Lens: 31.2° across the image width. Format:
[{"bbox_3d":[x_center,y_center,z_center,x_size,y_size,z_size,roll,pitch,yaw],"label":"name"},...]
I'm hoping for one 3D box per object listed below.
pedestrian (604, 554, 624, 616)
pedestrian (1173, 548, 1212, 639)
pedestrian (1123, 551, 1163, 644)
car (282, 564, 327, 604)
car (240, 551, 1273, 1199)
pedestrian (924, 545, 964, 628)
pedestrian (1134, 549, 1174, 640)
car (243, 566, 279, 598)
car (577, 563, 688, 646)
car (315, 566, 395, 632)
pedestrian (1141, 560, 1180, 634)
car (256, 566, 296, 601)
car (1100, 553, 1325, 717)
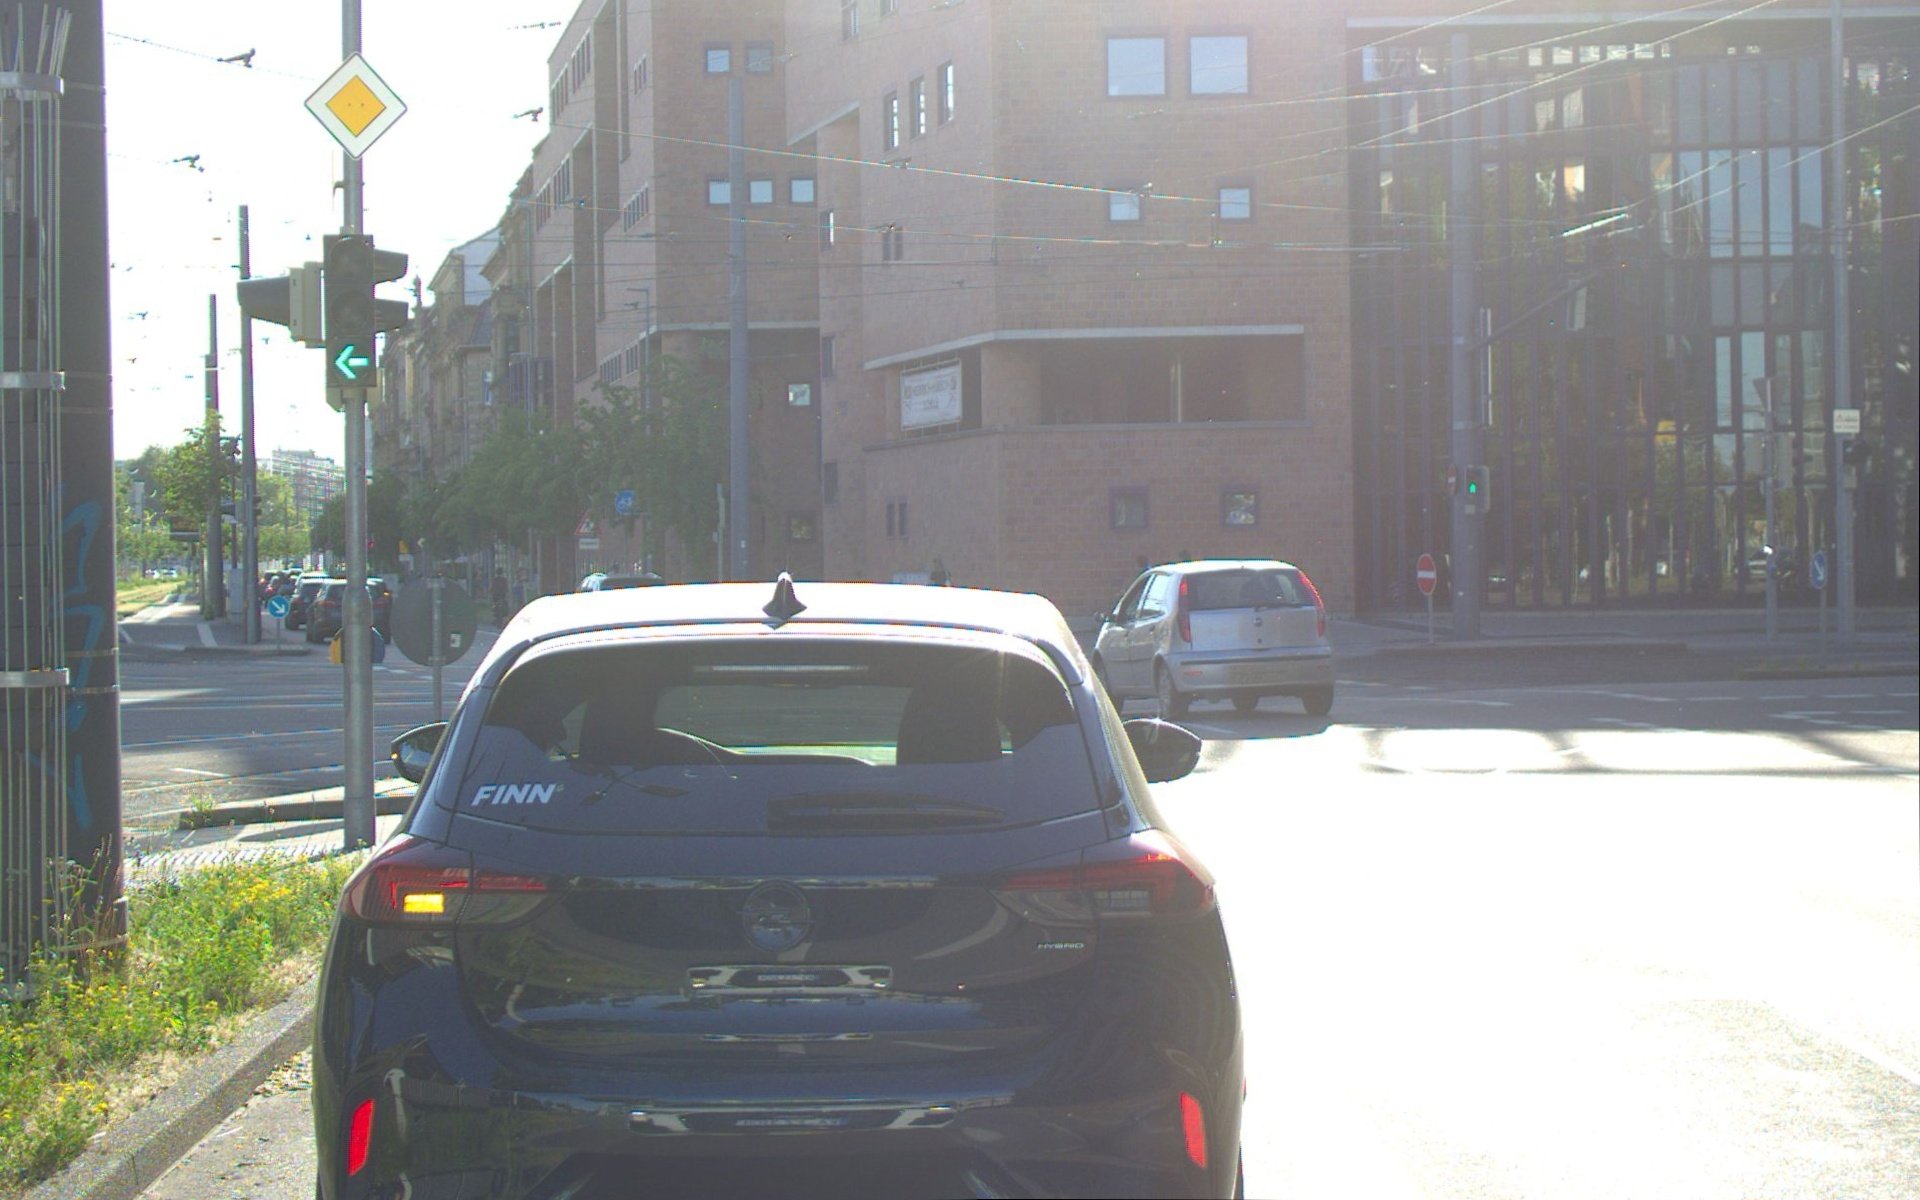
[{"bbox_3d":[-10.252,-0.442,101.817,0.547,1.780,0.573,-1,3,-8],"label":"pedestrian"},{"bbox_3d":[4.636,-0.131,68.585,0.571,1.780,0.549,-2,1,-19],"label":"pedestrian"},{"bbox_3d":[3.572,-0.054,67.164,0.571,1.780,0.549,-2,1,-19],"label":"pedestrian"},{"bbox_3d":[-25.081,-0.610,131.440,1.514,1.448,3.585,-2,1,-13],"label":"car"},{"bbox_3d":[-0.353,0.654,7.443,1.672,1.496,3.691,1,1,-1],"label":"car"},{"bbox_3d":[-0.345,-0.296,74.976,0.640,1.780,0.688,-2,1,-18],"label":"pedestrian"},{"bbox_3d":[3.825,-0.106,67.888,0.571,1.780,0.549,-2,1,-19],"label":"pedestrian"},{"bbox_3d":[-33.018,-0.878,162.435,1.514,1.448,3.585,-2,1,-13],"label":"car"},{"bbox_3d":[-6.118,0.064,63.946,1.670,1.448,3.699,-2,1,-11],"label":"car"},{"bbox_3d":[-14.139,-0.034,80.184,1.720,1.448,3.699,-2,1,-11],"label":"car"},{"bbox_3d":[4.047,-0.071,69.469,0.547,1.472,0.573,-2,2,-29],"label":"pedestrian"},{"bbox_3d":[-29.446,-0.707,147.946,1.514,1.448,3.585,-2,1,-13],"label":"car"},{"bbox_3d":[2.361,0.293,32.878,1.559,1.451,3.432,-1,1,-6],"label":"car"}]
